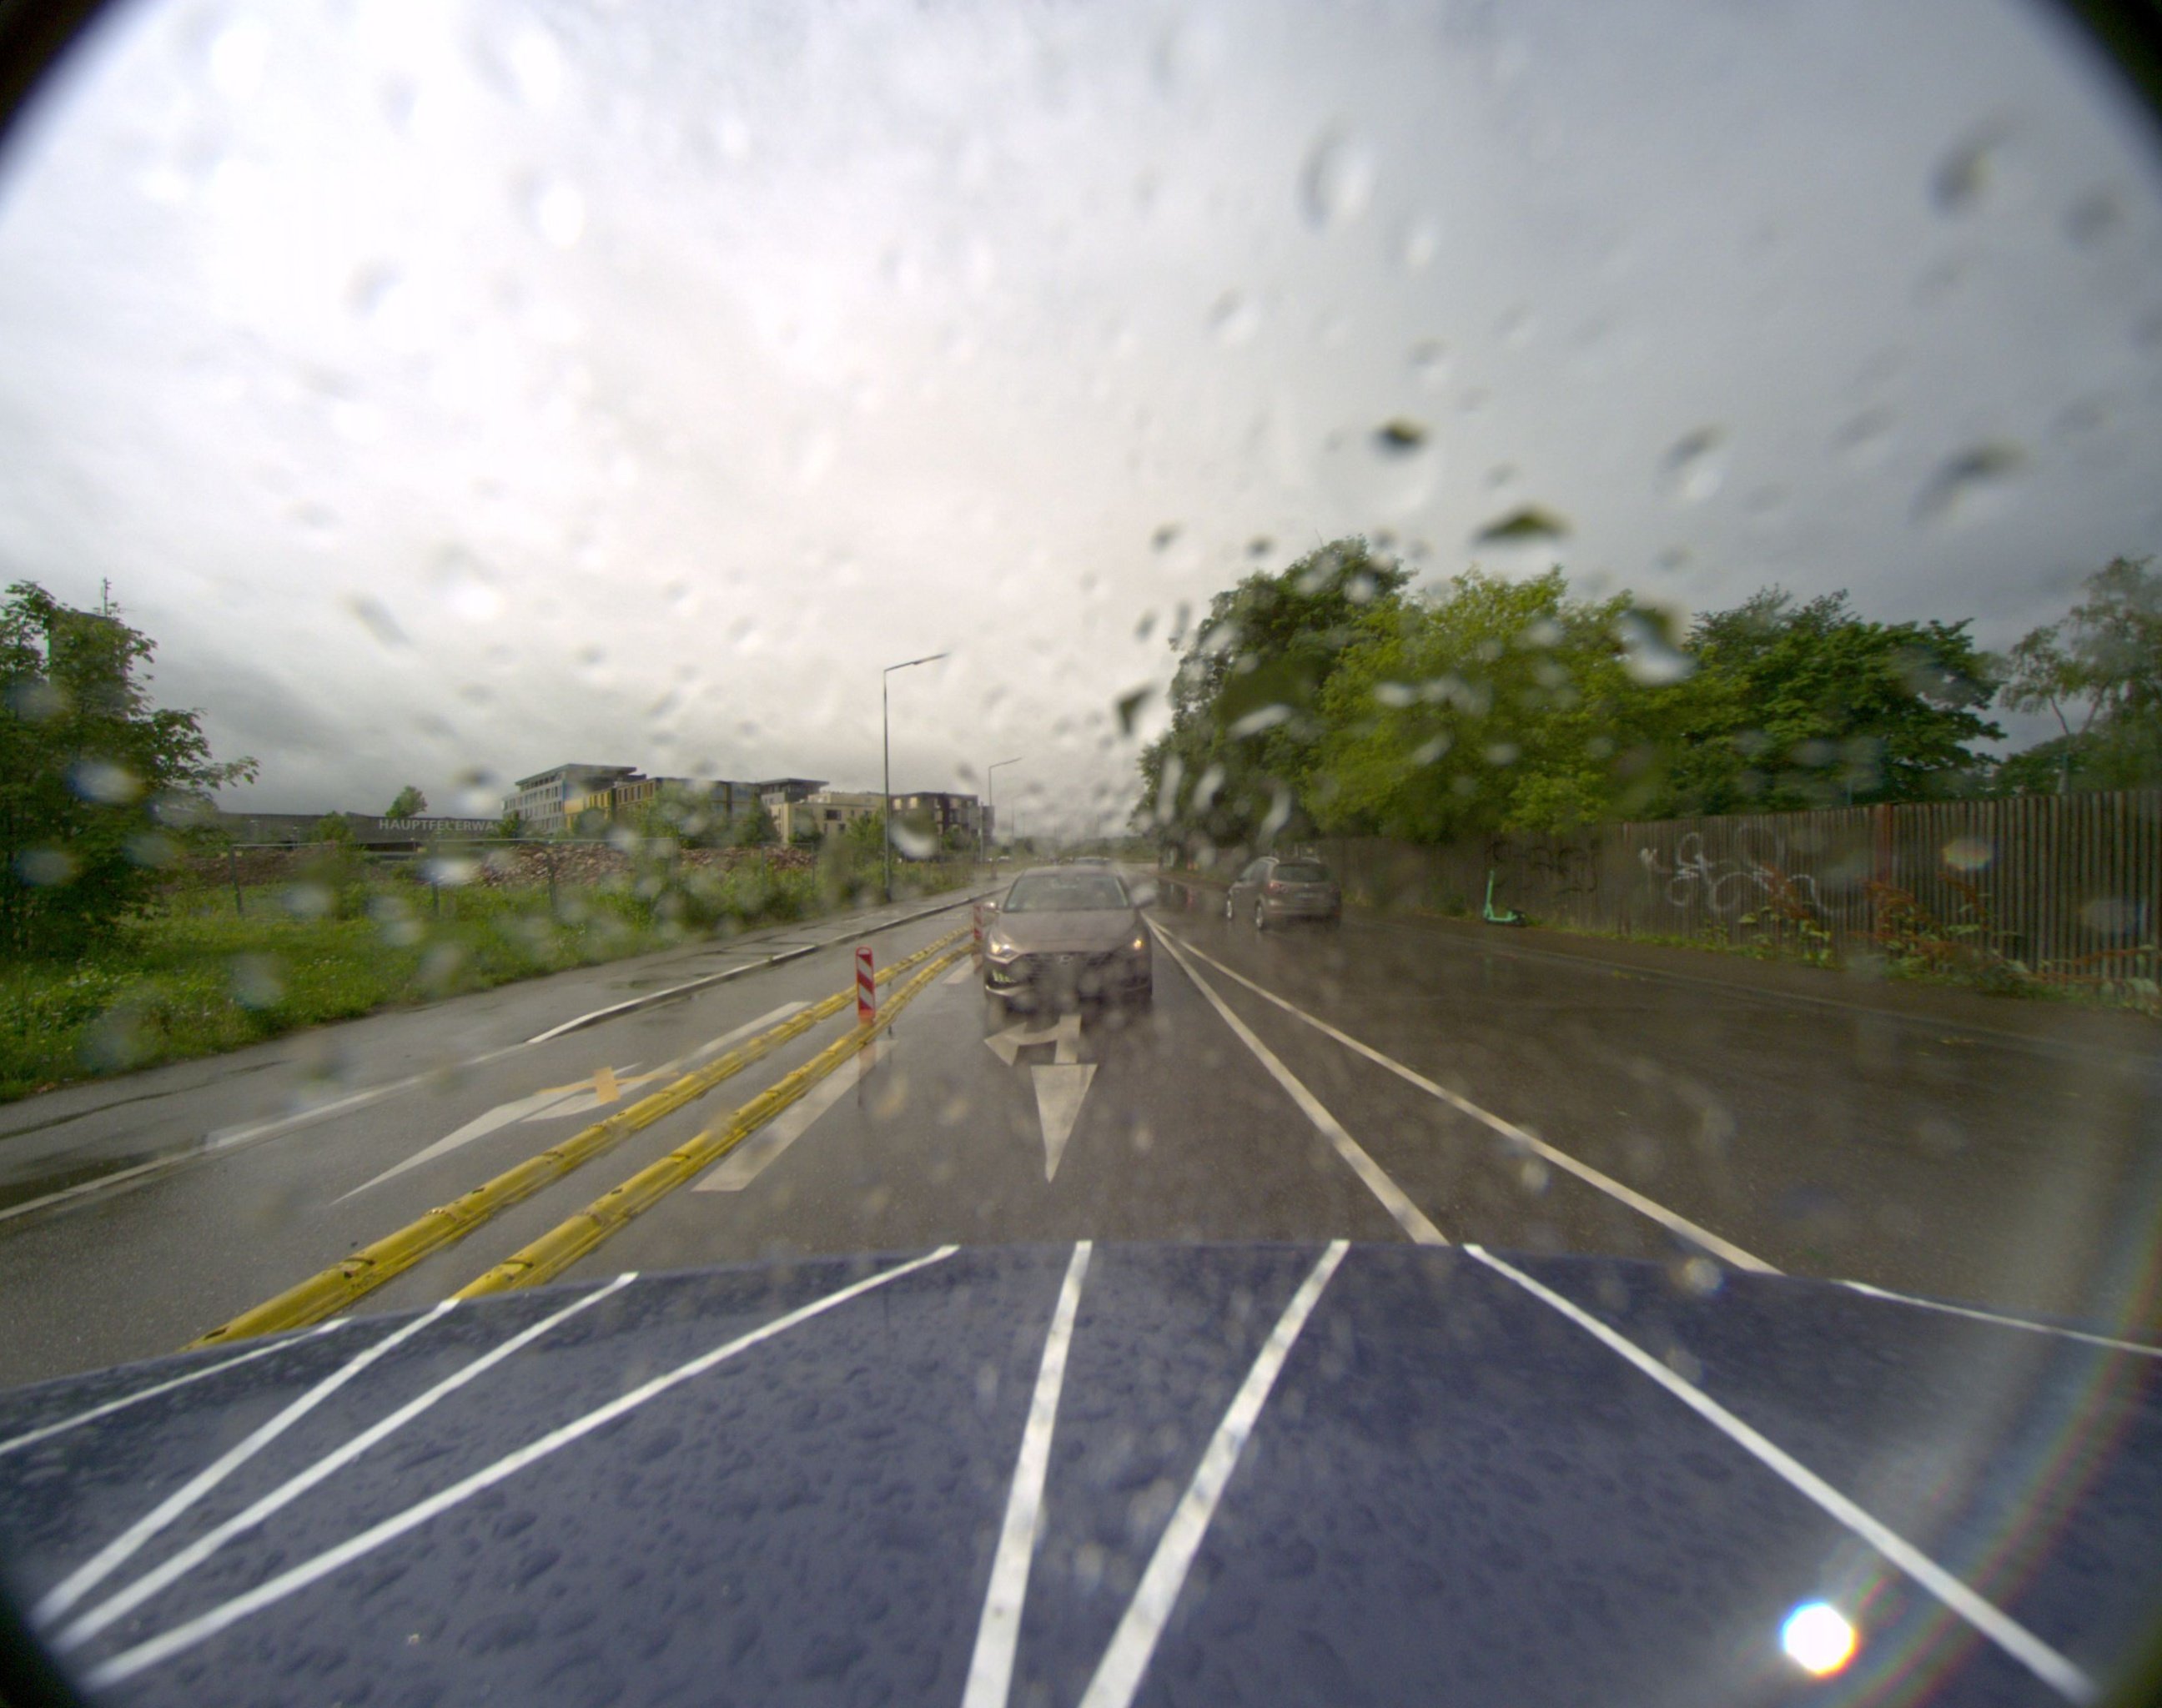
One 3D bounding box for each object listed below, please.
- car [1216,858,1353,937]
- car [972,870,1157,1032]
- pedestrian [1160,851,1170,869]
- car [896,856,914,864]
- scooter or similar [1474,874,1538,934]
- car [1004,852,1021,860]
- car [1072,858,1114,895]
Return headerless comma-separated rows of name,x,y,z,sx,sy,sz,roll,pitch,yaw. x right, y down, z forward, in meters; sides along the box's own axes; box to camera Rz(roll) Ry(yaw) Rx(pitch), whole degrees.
car,4.585,0.909,17.847,1.786,1.543,4.424,2,0,-3
car,-0.194,0.959,9.097,1.724,1.423,3.818,-1,0,-1
pedestrian,8.359,0.583,75.595,0.841,1.759,0.644,0,1,1
car,-35.008,1.138,151.289,1.644,1.573,3.674,-1,0,24
scooter or similar,8.723,1.001,15.638,0.564,1.156,1.207,-1,0,-6
car,-18.403,0.585,203.826,4.008,2.002,1.994,-1,0,-43
car,0.498,0.975,34.124,1.734,1.539,3.770,-1,0,0
